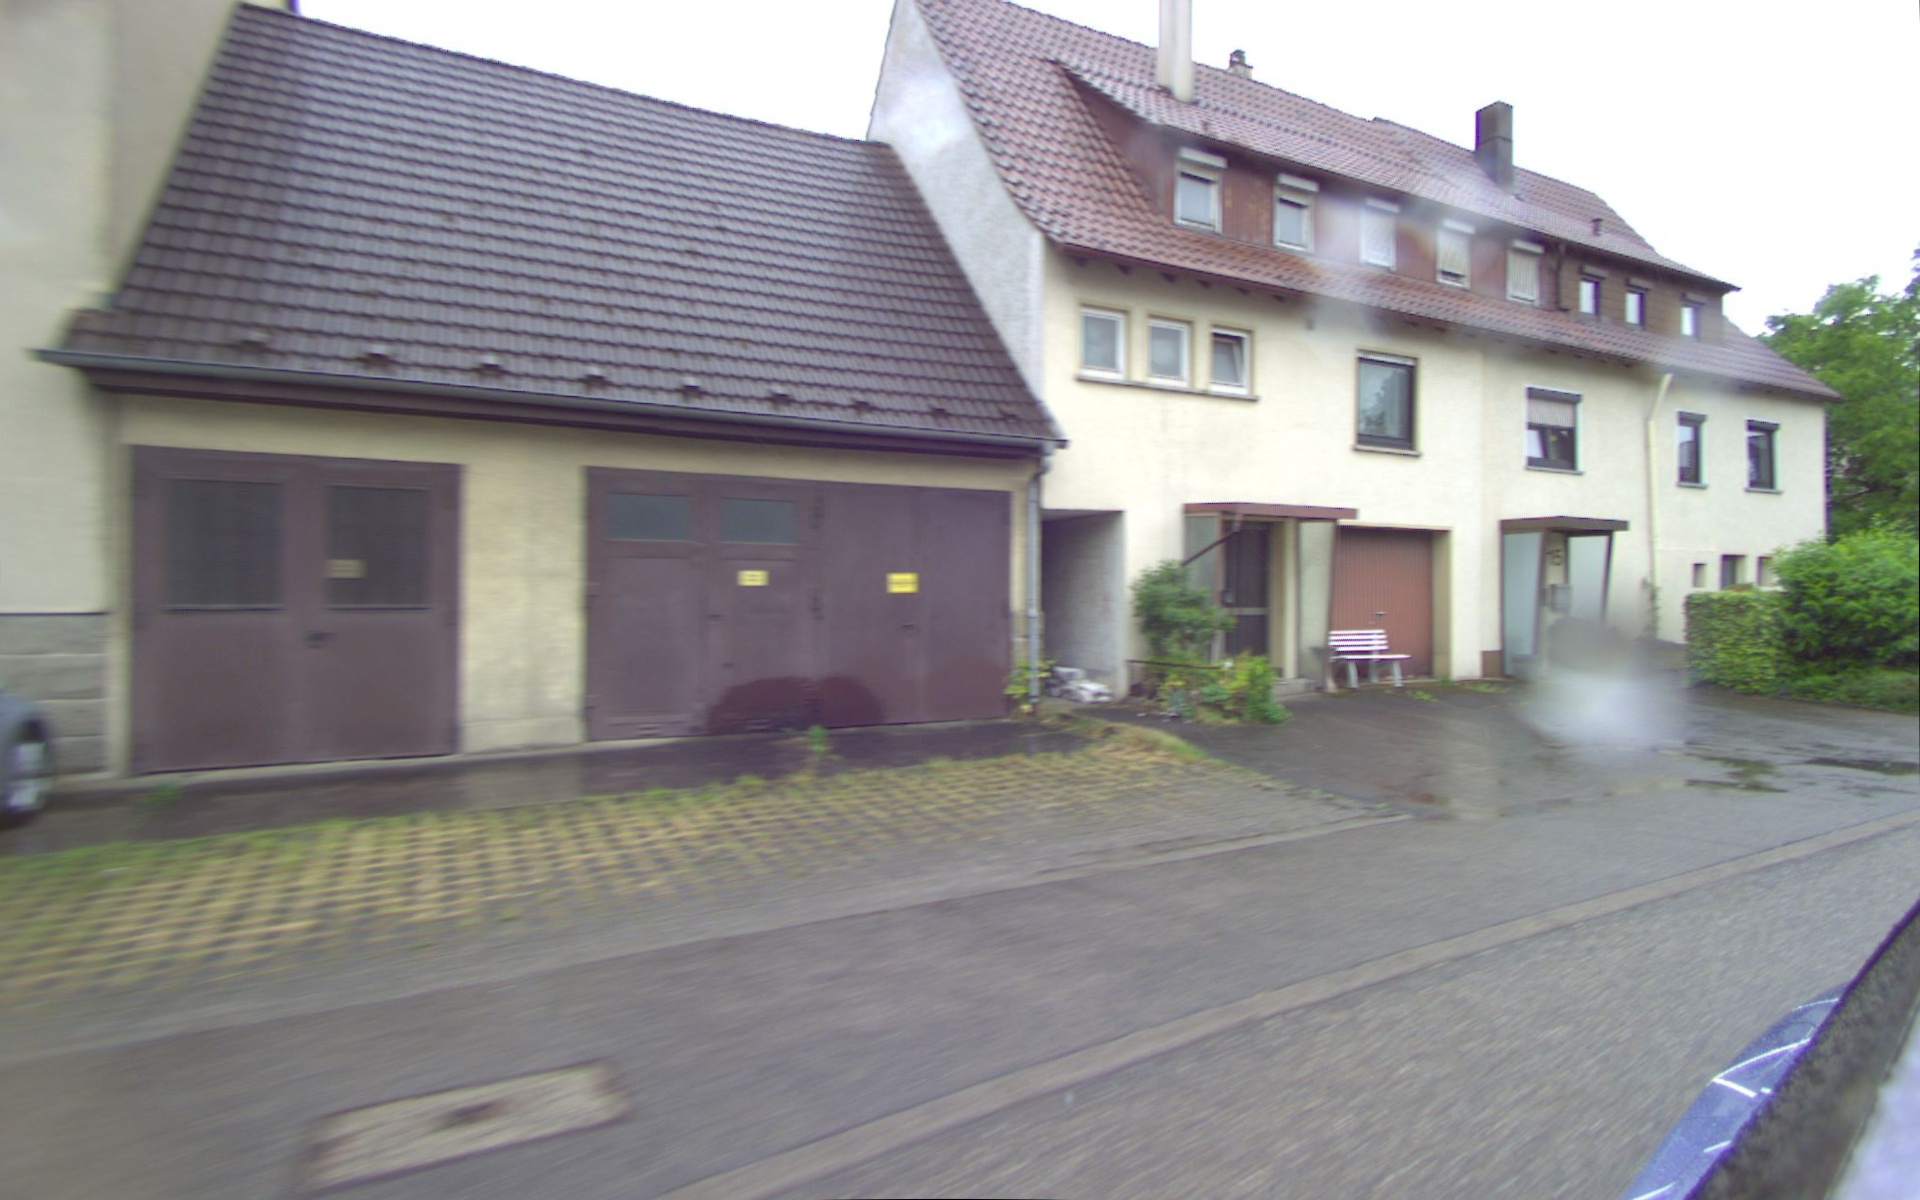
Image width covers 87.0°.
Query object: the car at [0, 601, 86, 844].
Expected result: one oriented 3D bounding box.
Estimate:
[{"bbox_3d":[-6.304,0.834,4.910,1.783,1.432,4.638,0,3,-23],"label":"car"}]
